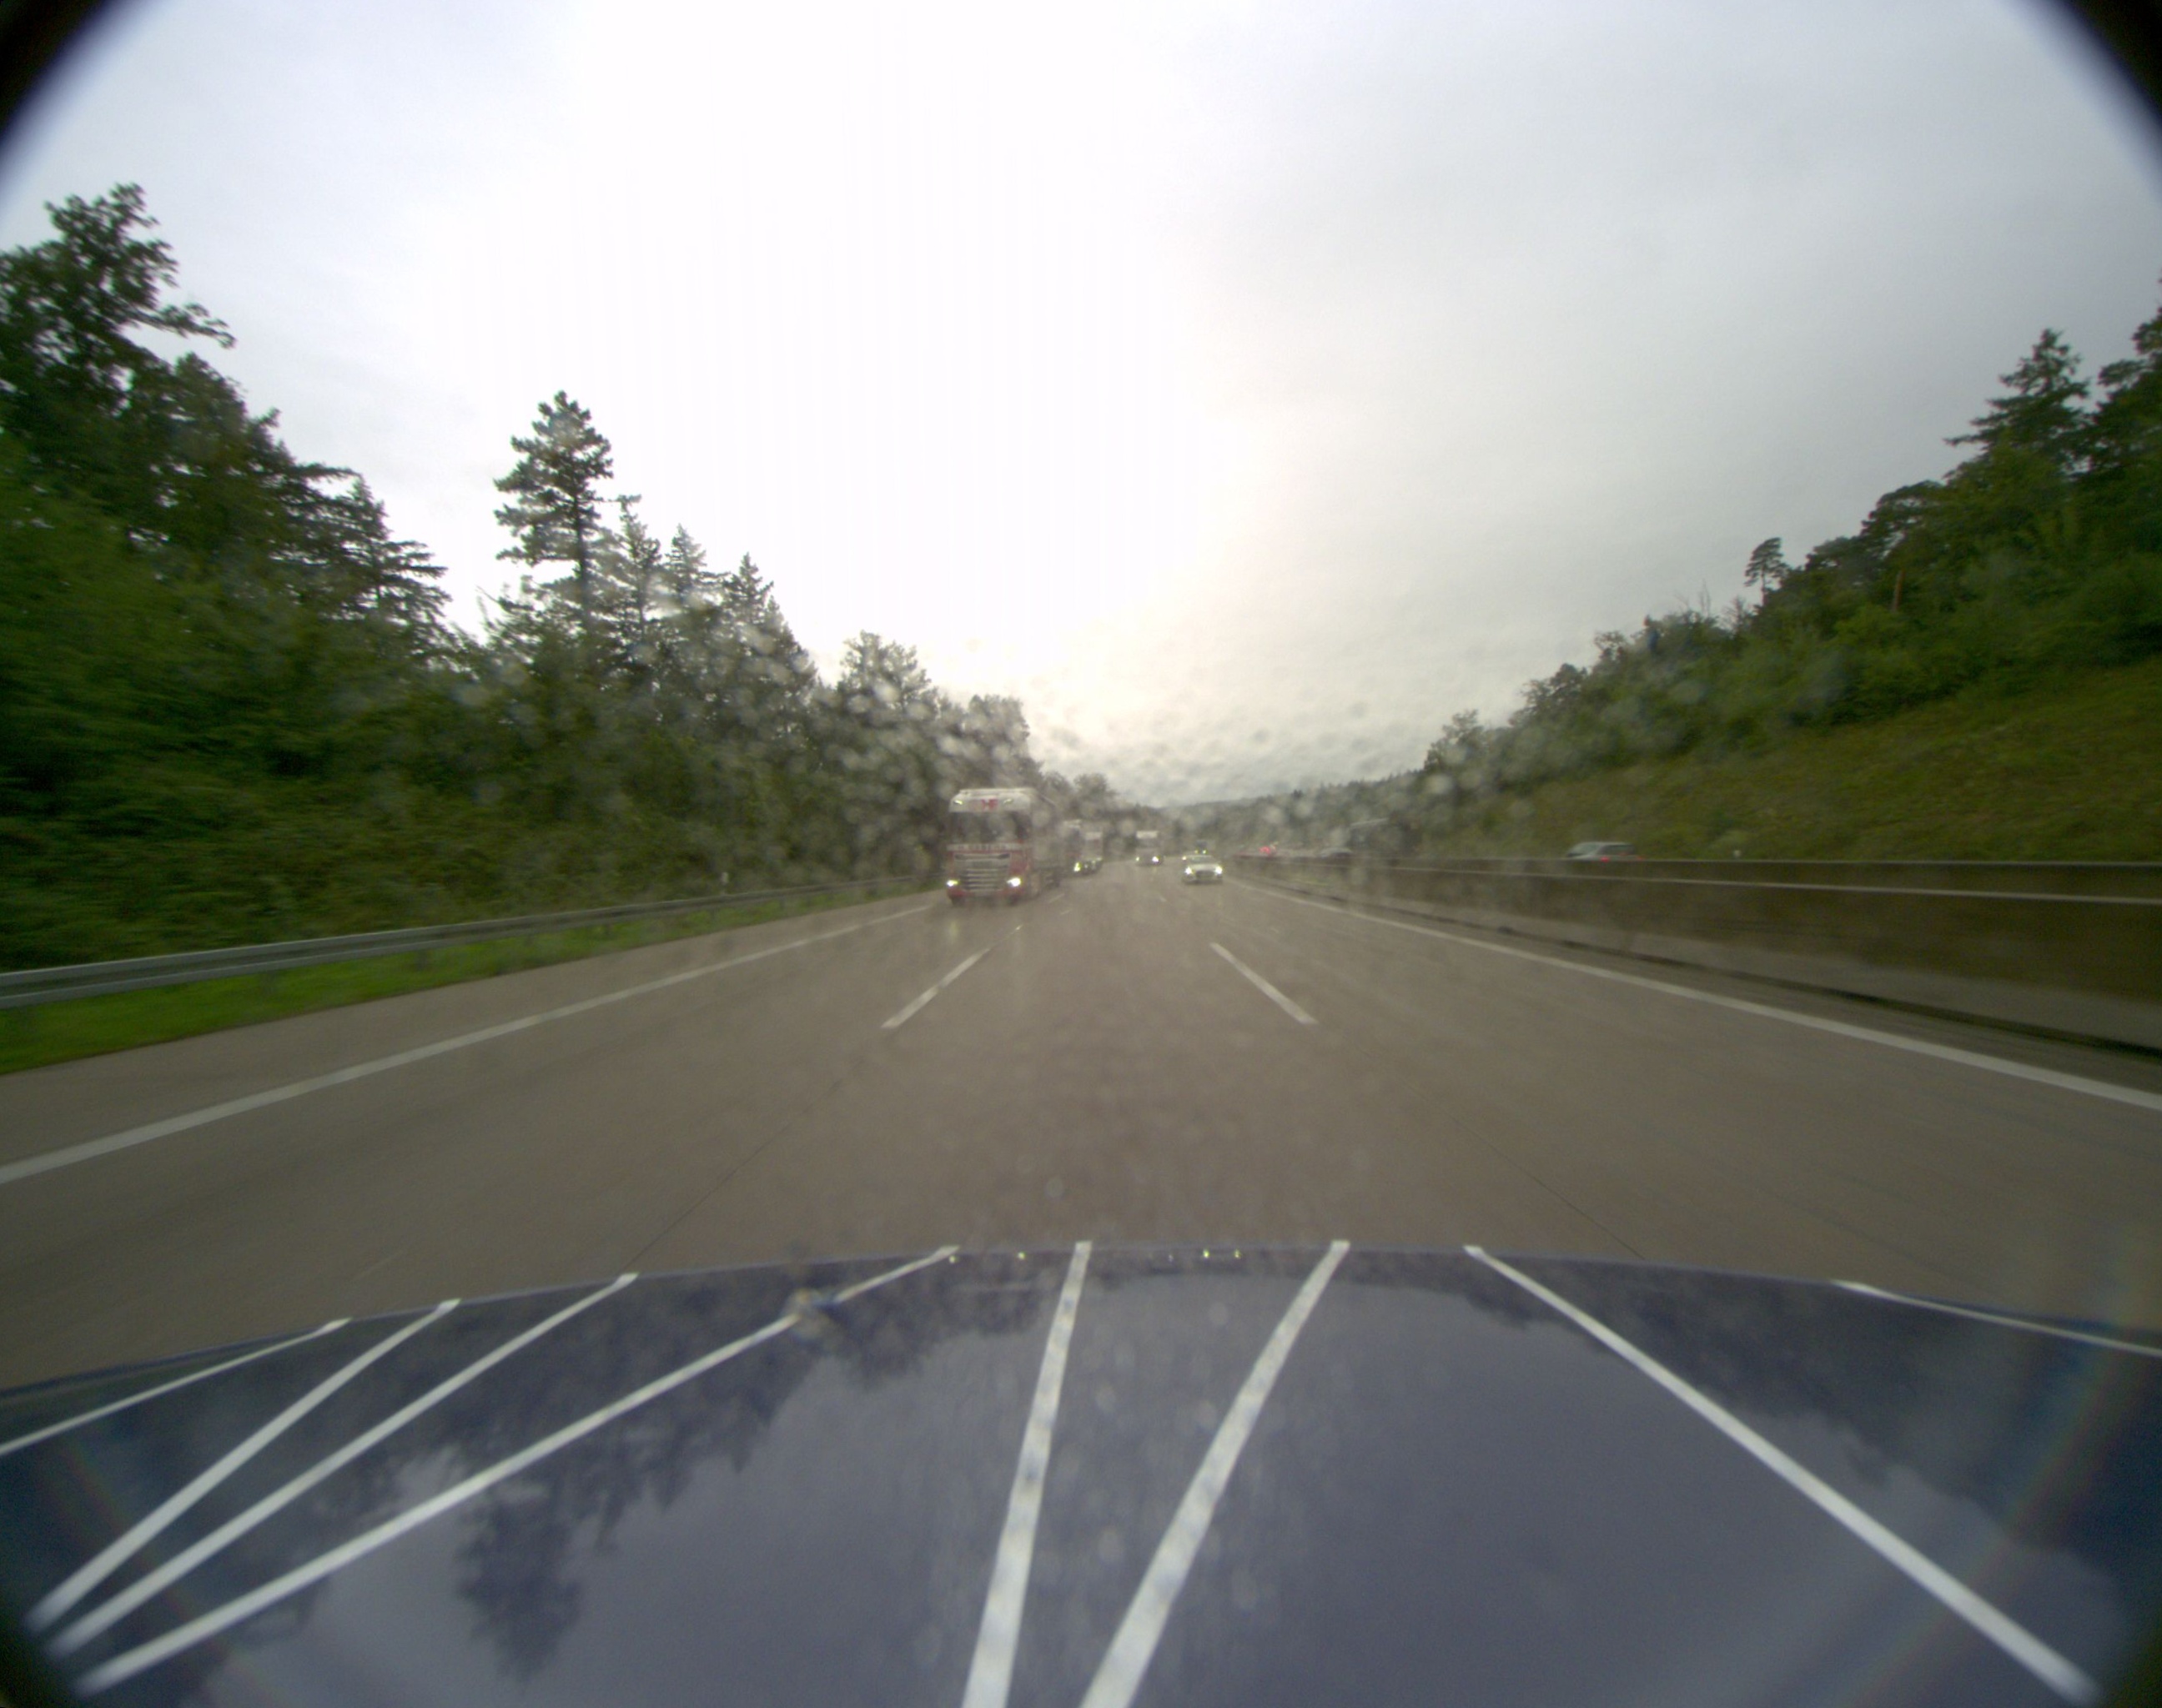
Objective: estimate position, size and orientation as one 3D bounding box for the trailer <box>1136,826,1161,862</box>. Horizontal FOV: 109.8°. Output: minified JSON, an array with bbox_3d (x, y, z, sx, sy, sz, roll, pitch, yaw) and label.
[{"bbox_3d":[8.605,-1.164,95.831,2.685,4.017,13.710,-4,0,6],"label":"trailer"}]

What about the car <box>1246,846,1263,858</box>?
[{"bbox_3d":[24.603,-0.344,107.961,1.997,1.575,4.775,-1,0,9],"label":"car"}]

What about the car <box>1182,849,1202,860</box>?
[{"bbox_3d":[16.083,0.013,109.952,1.847,1.474,4.455,-2,0,21],"label":"car"}]

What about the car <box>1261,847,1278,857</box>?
[{"bbox_3d":[30.783,-0.350,124.102,1.998,1.575,4.774,-1,0,6],"label":"car"}]

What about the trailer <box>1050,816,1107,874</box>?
[{"bbox_3d":[0.080,-0.707,60.590,2.740,4.080,13.688,-2,1,7],"label":"trailer"}]

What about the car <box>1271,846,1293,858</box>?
[{"bbox_3d":[26.328,-0.289,99.605,1.998,1.575,4.774,-1,0,6],"label":"car"}]

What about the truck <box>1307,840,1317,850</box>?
[{"bbox_3d":[76.427,-2.976,251.417,2.624,3.277,9.395,-1,1,21],"label":"truck"}]

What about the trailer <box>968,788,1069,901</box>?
[{"bbox_3d":[-2.333,-0.339,33.177,2.376,3.930,12.524,-2,0,4],"label":"trailer"}]

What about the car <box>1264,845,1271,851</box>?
[{"bbox_3d":[47.642,-1.481,194.090,1.744,1.552,4.288,-2,0,14],"label":"car"}]

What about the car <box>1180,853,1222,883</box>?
[{"bbox_3d":[6.077,0.666,38.820,1.716,1.399,4.937,-2,0,5],"label":"car"}]

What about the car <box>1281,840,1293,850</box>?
[{"bbox_3d":[42.227,-1.858,155.949,1.997,2.002,4.003,-1,0,11],"label":"car"}]

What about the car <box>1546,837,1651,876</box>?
[{"bbox_3d":[21.088,0.091,31.147,1.735,1.484,4.001,-1,0,3],"label":"car"}]

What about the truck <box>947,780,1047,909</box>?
[{"bbox_3d":[-2.752,-0.335,26.733,2.380,3.931,6.160,-2,1,3],"label":"truck"}]

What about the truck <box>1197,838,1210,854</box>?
[{"bbox_3d":[32.024,-2.086,198.434,2.735,4.127,8.630,-2,0,13],"label":"truck"}]

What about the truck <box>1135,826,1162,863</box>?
[{"bbox_3d":[7.853,-1.089,88.537,2.727,4.017,5.754,-4,0,5],"label":"truck"}]

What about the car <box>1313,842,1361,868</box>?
[{"bbox_3d":[15.560,0.046,46.312,1.735,1.484,4.001,-1,0,3],"label":"car"}]

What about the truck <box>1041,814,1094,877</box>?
[{"bbox_3d":[-0.864,-0.600,53.366,2.804,4.080,5.970,-2,1,7],"label":"truck"}]

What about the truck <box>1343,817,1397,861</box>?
[{"bbox_3d":[27.701,-1.402,73.179,2.933,3.937,8.121,-1,1,6],"label":"truck"}]

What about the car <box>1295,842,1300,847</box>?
[{"bbox_3d":[70.850,-3.165,248.743,1.656,1.338,4.090,-2,1,15],"label":"car"}]

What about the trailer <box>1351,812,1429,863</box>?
[{"bbox_3d":[26.894,-1.354,66.914,2.933,3.937,13.470,-1,0,7],"label":"trailer"}]

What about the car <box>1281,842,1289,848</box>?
[{"bbox_3d":[53.183,-2.280,198.375,1.744,1.552,4.287,-1,1,13],"label":"car"}]
